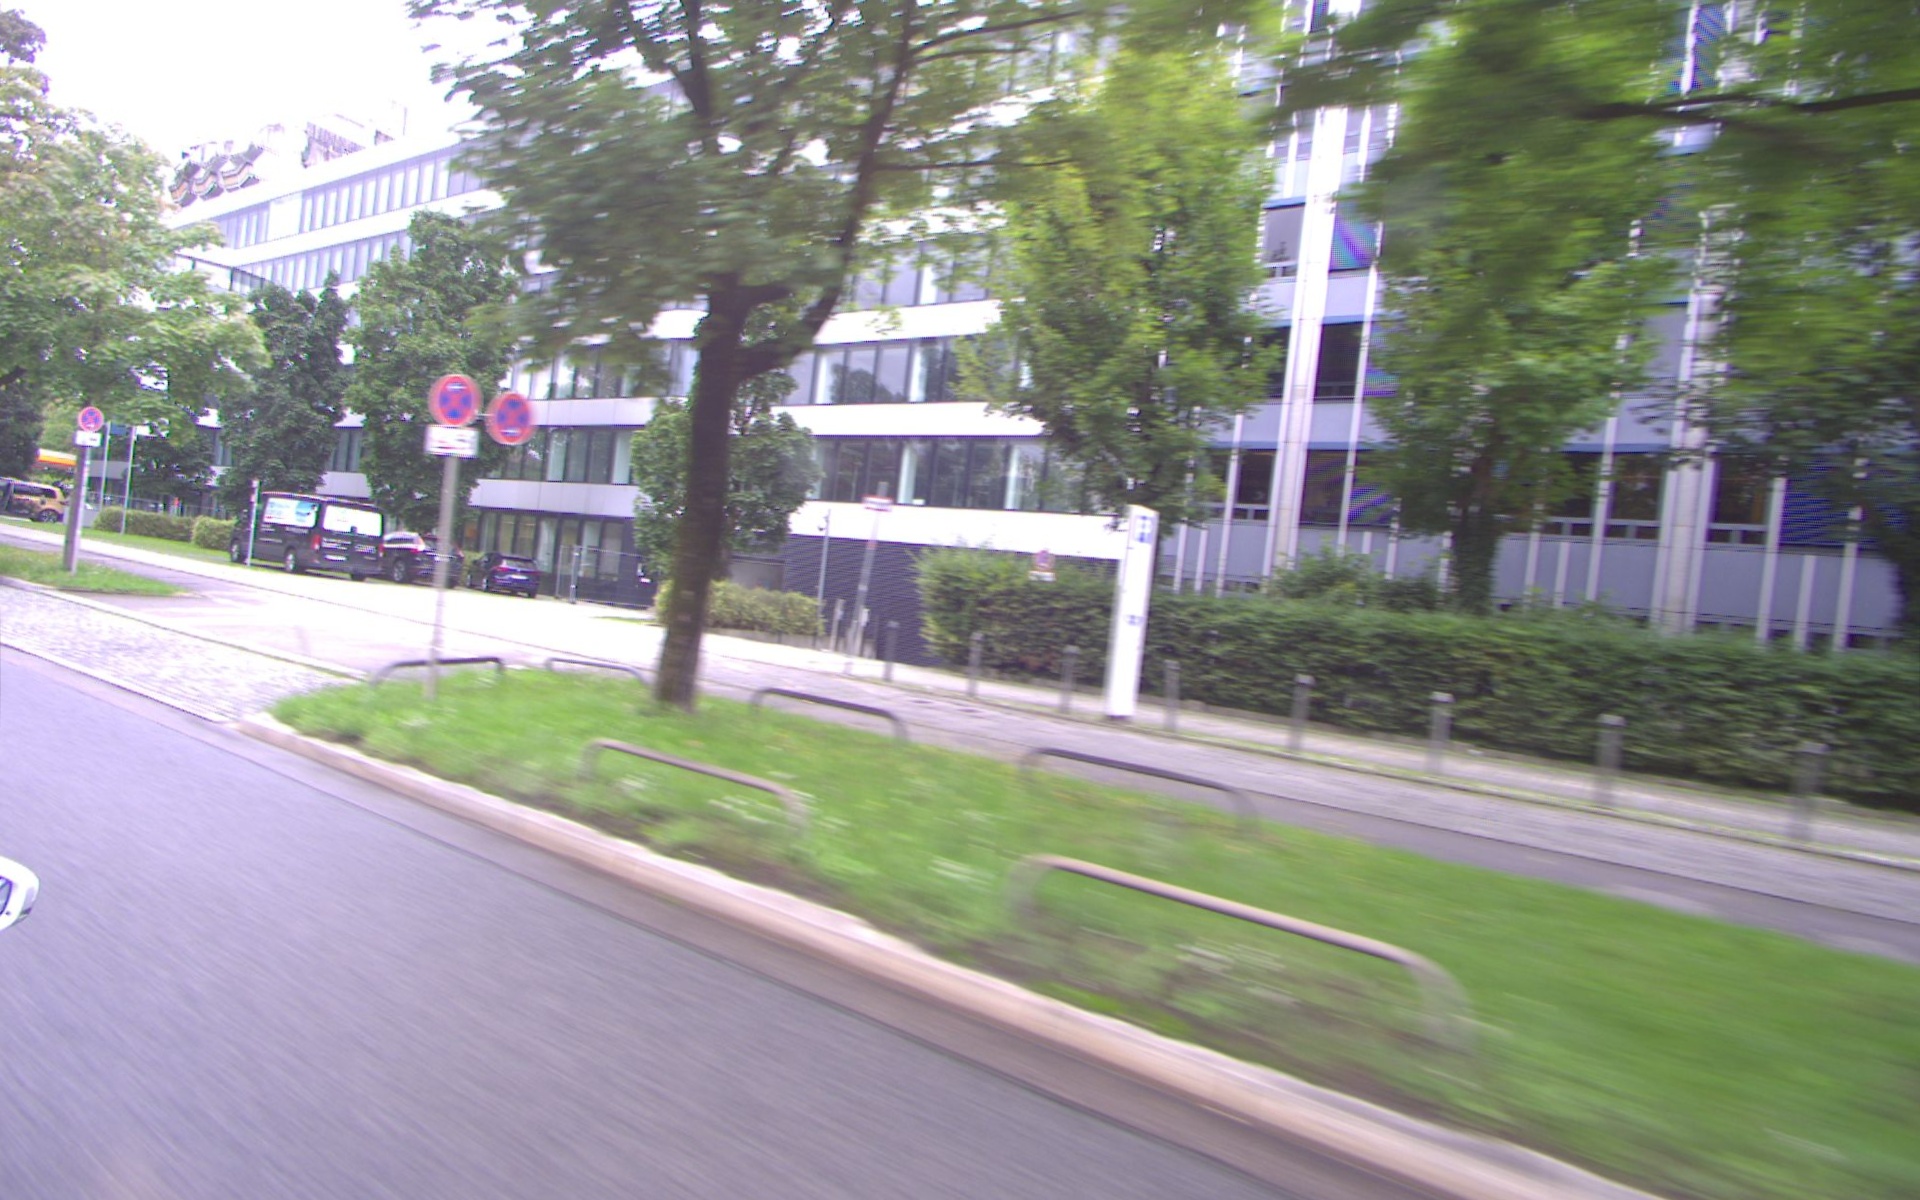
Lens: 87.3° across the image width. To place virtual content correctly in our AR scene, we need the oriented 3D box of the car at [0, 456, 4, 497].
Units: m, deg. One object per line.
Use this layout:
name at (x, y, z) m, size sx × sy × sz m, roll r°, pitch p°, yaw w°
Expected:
car at (-19.256, -1.701, 17.946) m, size 5.467 × 2.185 × 1.988 m, roll 7°, pitch 1°, yaw 34°

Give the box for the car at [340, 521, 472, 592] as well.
car at (-18.374, -1.465, 33.306) m, size 4.398 × 1.841 × 1.843 m, roll 7°, pitch 1°, yaw 32°

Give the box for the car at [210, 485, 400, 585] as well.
car at (-19.714, -1.988, 30.168) m, size 6.165 × 2.336 × 2.266 m, roll 7°, pitch 1°, yaw 32°

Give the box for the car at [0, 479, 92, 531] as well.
car at (-48.242, -5.000, 51.336) m, size 2.112 × 2.109 × 5.475 m, roll 7°, pitch 0°, yaw 33°

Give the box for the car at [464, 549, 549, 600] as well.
car at (-16.066, -0.927, 35.561) m, size 1.774 × 1.390 × 3.924 m, roll 8°, pitch -1°, yaw -38°
